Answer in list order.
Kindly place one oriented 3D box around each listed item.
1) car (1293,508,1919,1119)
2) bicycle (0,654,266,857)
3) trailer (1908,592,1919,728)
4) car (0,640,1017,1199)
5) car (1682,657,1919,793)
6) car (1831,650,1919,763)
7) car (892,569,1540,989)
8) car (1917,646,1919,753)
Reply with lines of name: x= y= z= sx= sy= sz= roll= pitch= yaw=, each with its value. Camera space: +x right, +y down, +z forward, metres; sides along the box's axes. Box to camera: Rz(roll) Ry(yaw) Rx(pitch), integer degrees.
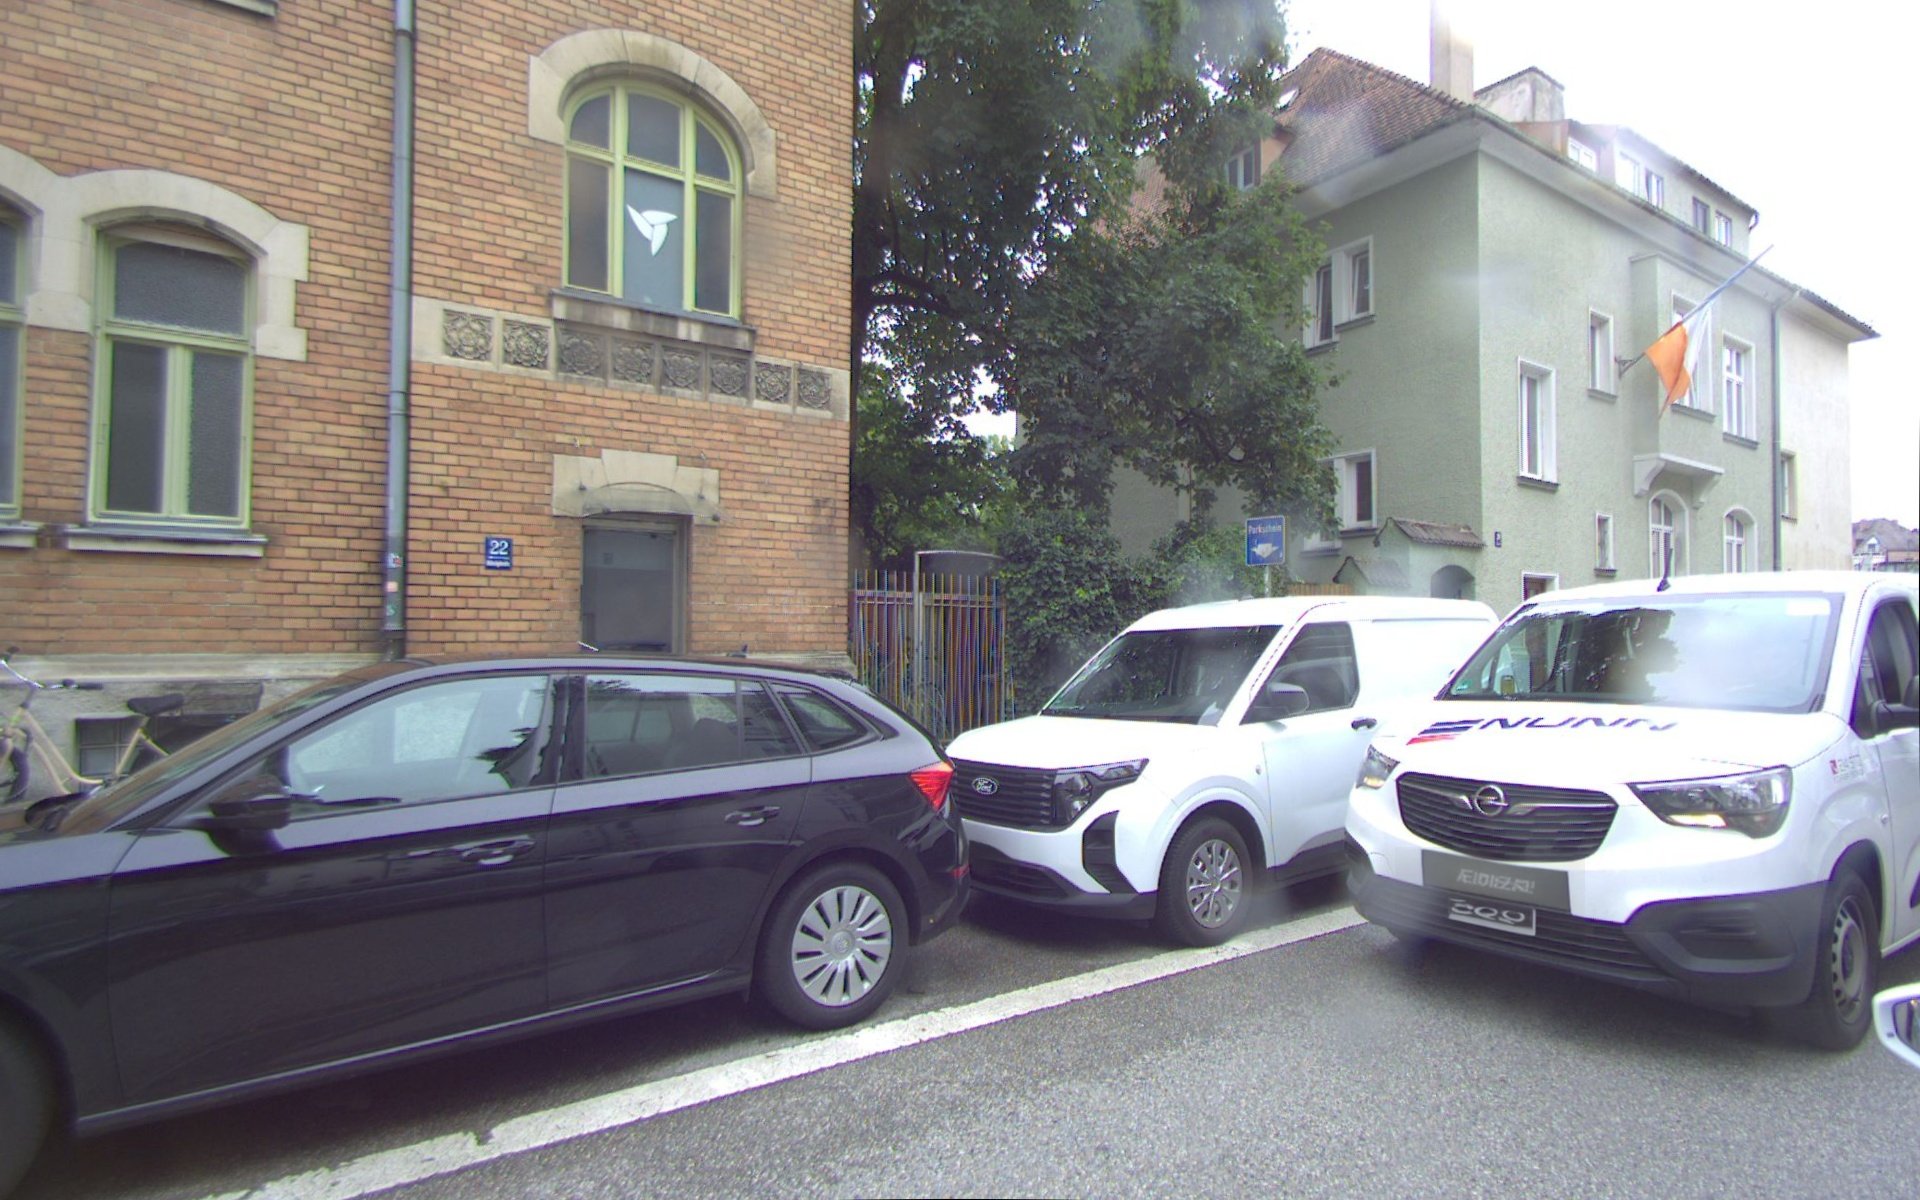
car: x=3.824 y=0.701 z=5.058 sx=4.527 sy=1.827 sz=1.760 roll=1 pitch=-2 yaw=-35
bicycle: x=-5.429 y=0.921 z=6.233 sx=1.808 sy=1.143 sz=0.627 roll=1 pitch=-2 yaw=-34
trailer: x=19.827 y=1.098 z=18.959 sx=4.338 sy=2.493 sz=1.700 roll=1 pitch=-4 yaw=-33
car: x=-1.917 y=0.903 z=3.796 sx=4.103 sy=1.461 sz=1.680 roll=1 pitch=-4 yaw=-35
car: x=11.039 y=1.461 z=12.688 sx=4.293 sy=1.430 sz=1.848 roll=3 pitch=-5 yaw=-36
car: x=15.460 y=1.609 z=15.868 sx=3.883 sy=1.623 sz=1.676 roll=2 pitch=-4 yaw=-36
car: x=1.757 y=0.866 z=6.291 sx=4.105 sy=1.827 sz=1.679 roll=2 pitch=-4 yaw=-36
car: x=10.477 y=1.158 z=9.320 sx=3.575 sy=1.429 sz=1.572 roll=2 pitch=-3 yaw=-34
